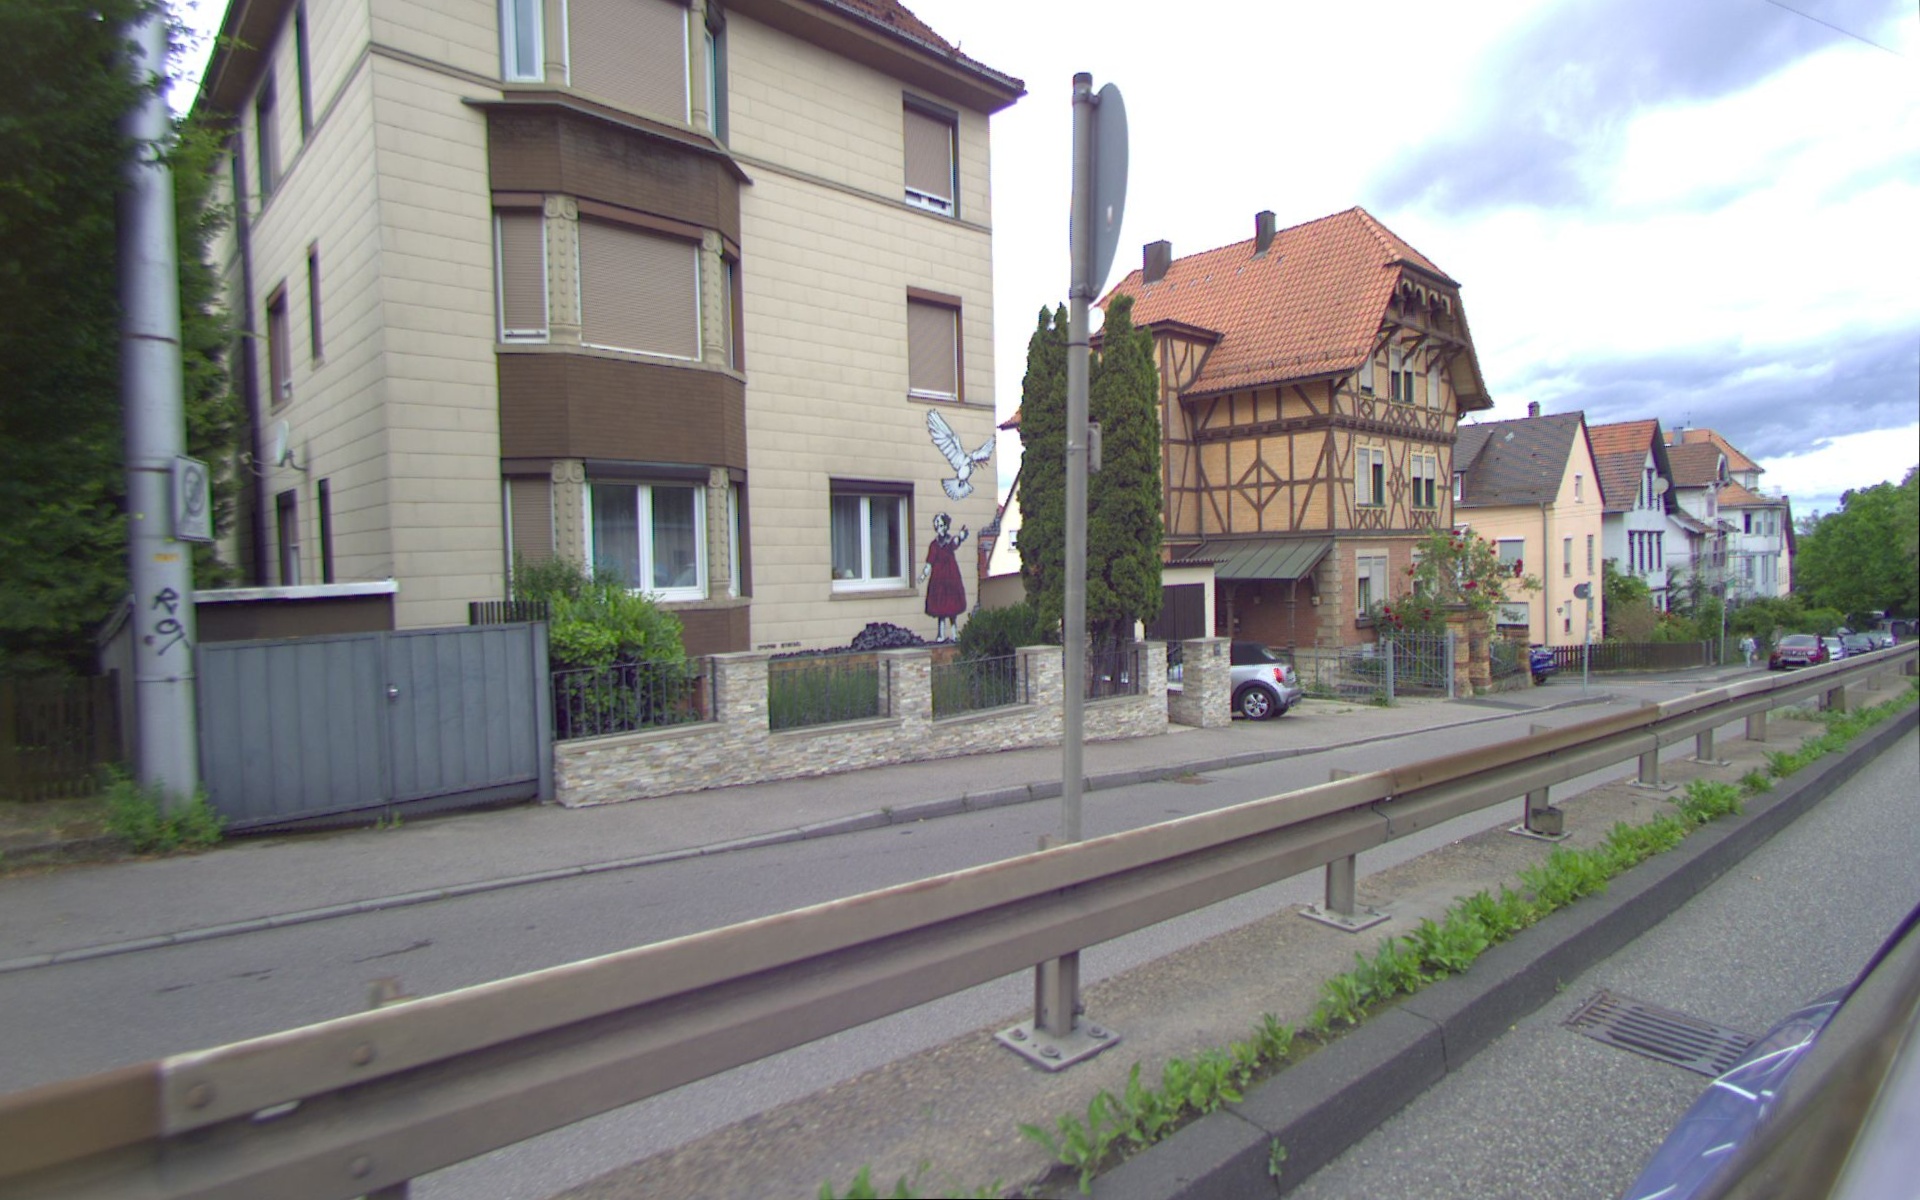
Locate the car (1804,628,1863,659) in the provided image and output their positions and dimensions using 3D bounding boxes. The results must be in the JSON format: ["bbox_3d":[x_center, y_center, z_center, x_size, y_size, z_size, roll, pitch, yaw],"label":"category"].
[{"bbox_3d":[45.050,2.211,52.178,3.933,1.518,1.919,1,-1,-44],"label":"car"}]

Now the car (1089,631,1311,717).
[{"bbox_3d":[4.527,1.418,19.247,3.764,1.423,1.530,-5,-4,30],"label":"car"}]

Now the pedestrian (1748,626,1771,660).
[{"bbox_3d":[35.764,1.898,45.264,0.683,1.490,0.712,1,-2,-44],"label":"pedestrian"}]

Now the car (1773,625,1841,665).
[{"bbox_3d":[38.259,1.983,45.682,3.933,1.672,1.919,1,-1,-44],"label":"car"}]

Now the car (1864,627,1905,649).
[{"bbox_3d":[63.658,2.599,69.691,3.933,1.380,1.847,1,-1,-44],"label":"car"}]

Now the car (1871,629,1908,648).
[{"bbox_3d":[71.979,2.948,78.325,3.933,1.380,1.847,1,-1,-44],"label":"car"}]

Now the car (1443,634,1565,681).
[{"bbox_3d":[20.442,2.117,38.111,3.784,1.583,1.522,-1,-1,43],"label":"car"}]

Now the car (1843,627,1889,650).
[{"bbox_3d":[56.608,2.385,63.196,3.933,1.380,1.847,1,-1,-44],"label":"car"}]
